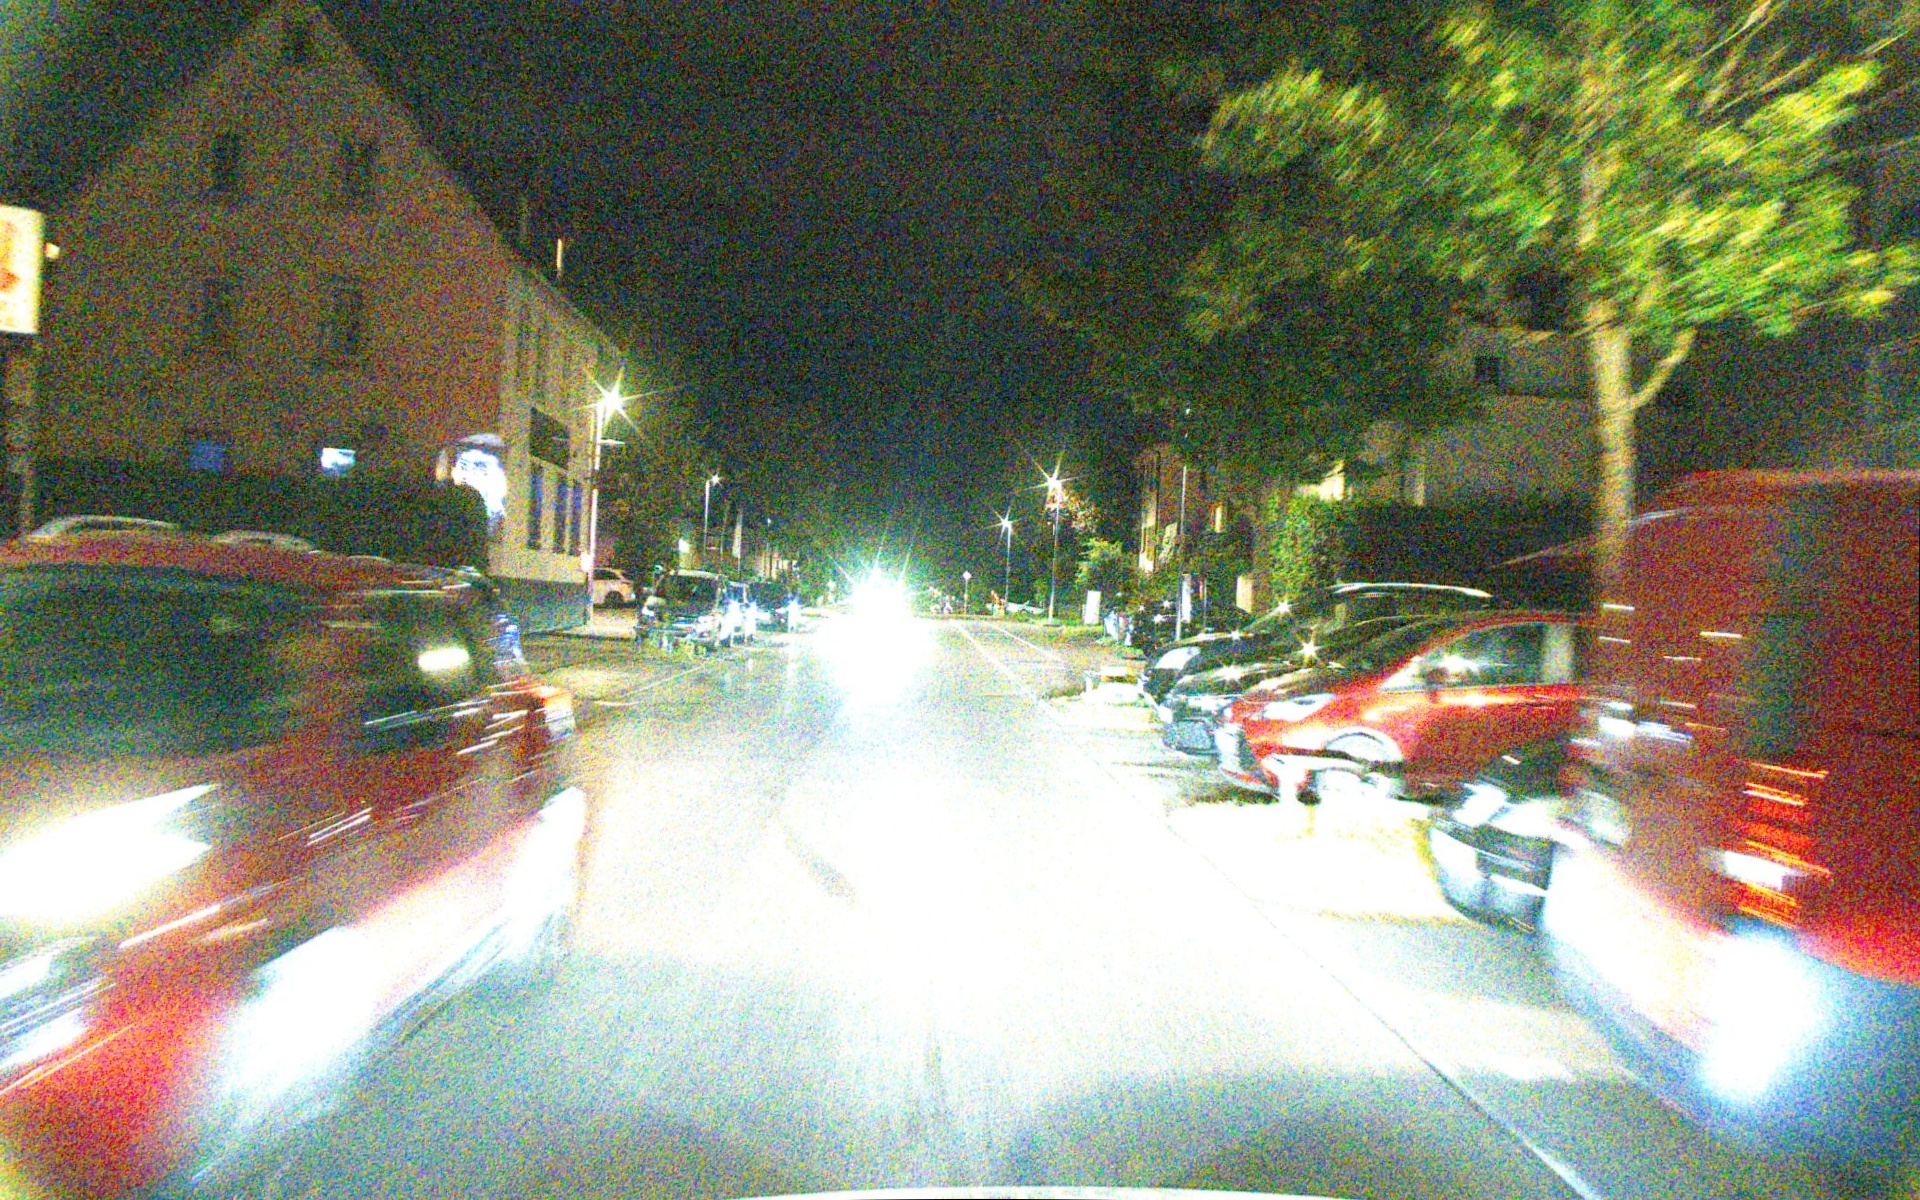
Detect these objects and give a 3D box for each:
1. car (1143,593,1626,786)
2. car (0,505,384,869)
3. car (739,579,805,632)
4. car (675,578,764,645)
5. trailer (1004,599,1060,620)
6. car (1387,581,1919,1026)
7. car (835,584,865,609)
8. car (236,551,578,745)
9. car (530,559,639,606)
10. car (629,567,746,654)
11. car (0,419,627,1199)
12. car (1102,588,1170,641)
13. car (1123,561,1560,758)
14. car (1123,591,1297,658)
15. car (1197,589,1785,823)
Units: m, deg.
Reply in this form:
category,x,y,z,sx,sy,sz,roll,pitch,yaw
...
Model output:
category,x,y,z,sx,sy,sz,roll,pitch,yaw
car,3.746,0.765,15.030,3.839,1.540,1.853,2,0,-5
car,-5.150,0.343,9.874,2.074,1.699,4.167,3,0,-3
car,-5.838,0.140,51.763,1.714,1.494,4.007,3,0,-3
car,-6.008,0.255,41.702,1.735,1.494,3.964,3,0,-3
trailer,4.518,0.598,104.263,3.364,1.019,1.953,6,0,-2
car,3.972,0.769,7.003,3.834,1.578,1.988,2,0,3
car,-7.406,-0.230,111.619,1.638,1.618,3.987,3,0,0
car,-5.343,0.398,16.683,2.074,1.575,4.474,3,0,-3
car,-14.245,-0.664,62.978,3.913,1.732,1.944,0,1,-9
car,-5.865,0.197,36.111,1.890,1.665,4.469,4,0,-3
car,-2.175,0.552,4.553,1.684,1.745,3.961,2,0,0
car,5.649,0.438,53.451,1.606,1.587,3.677,2,0,-2
car,3.941,0.585,17.745,4.263,1.848,2.032,2,0,4
car,5.915,0.568,39.376,3.825,1.512,1.832,1,0,-2
car,3.887,0.760,12.563,3.837,1.540,1.854,2,-1,-3
